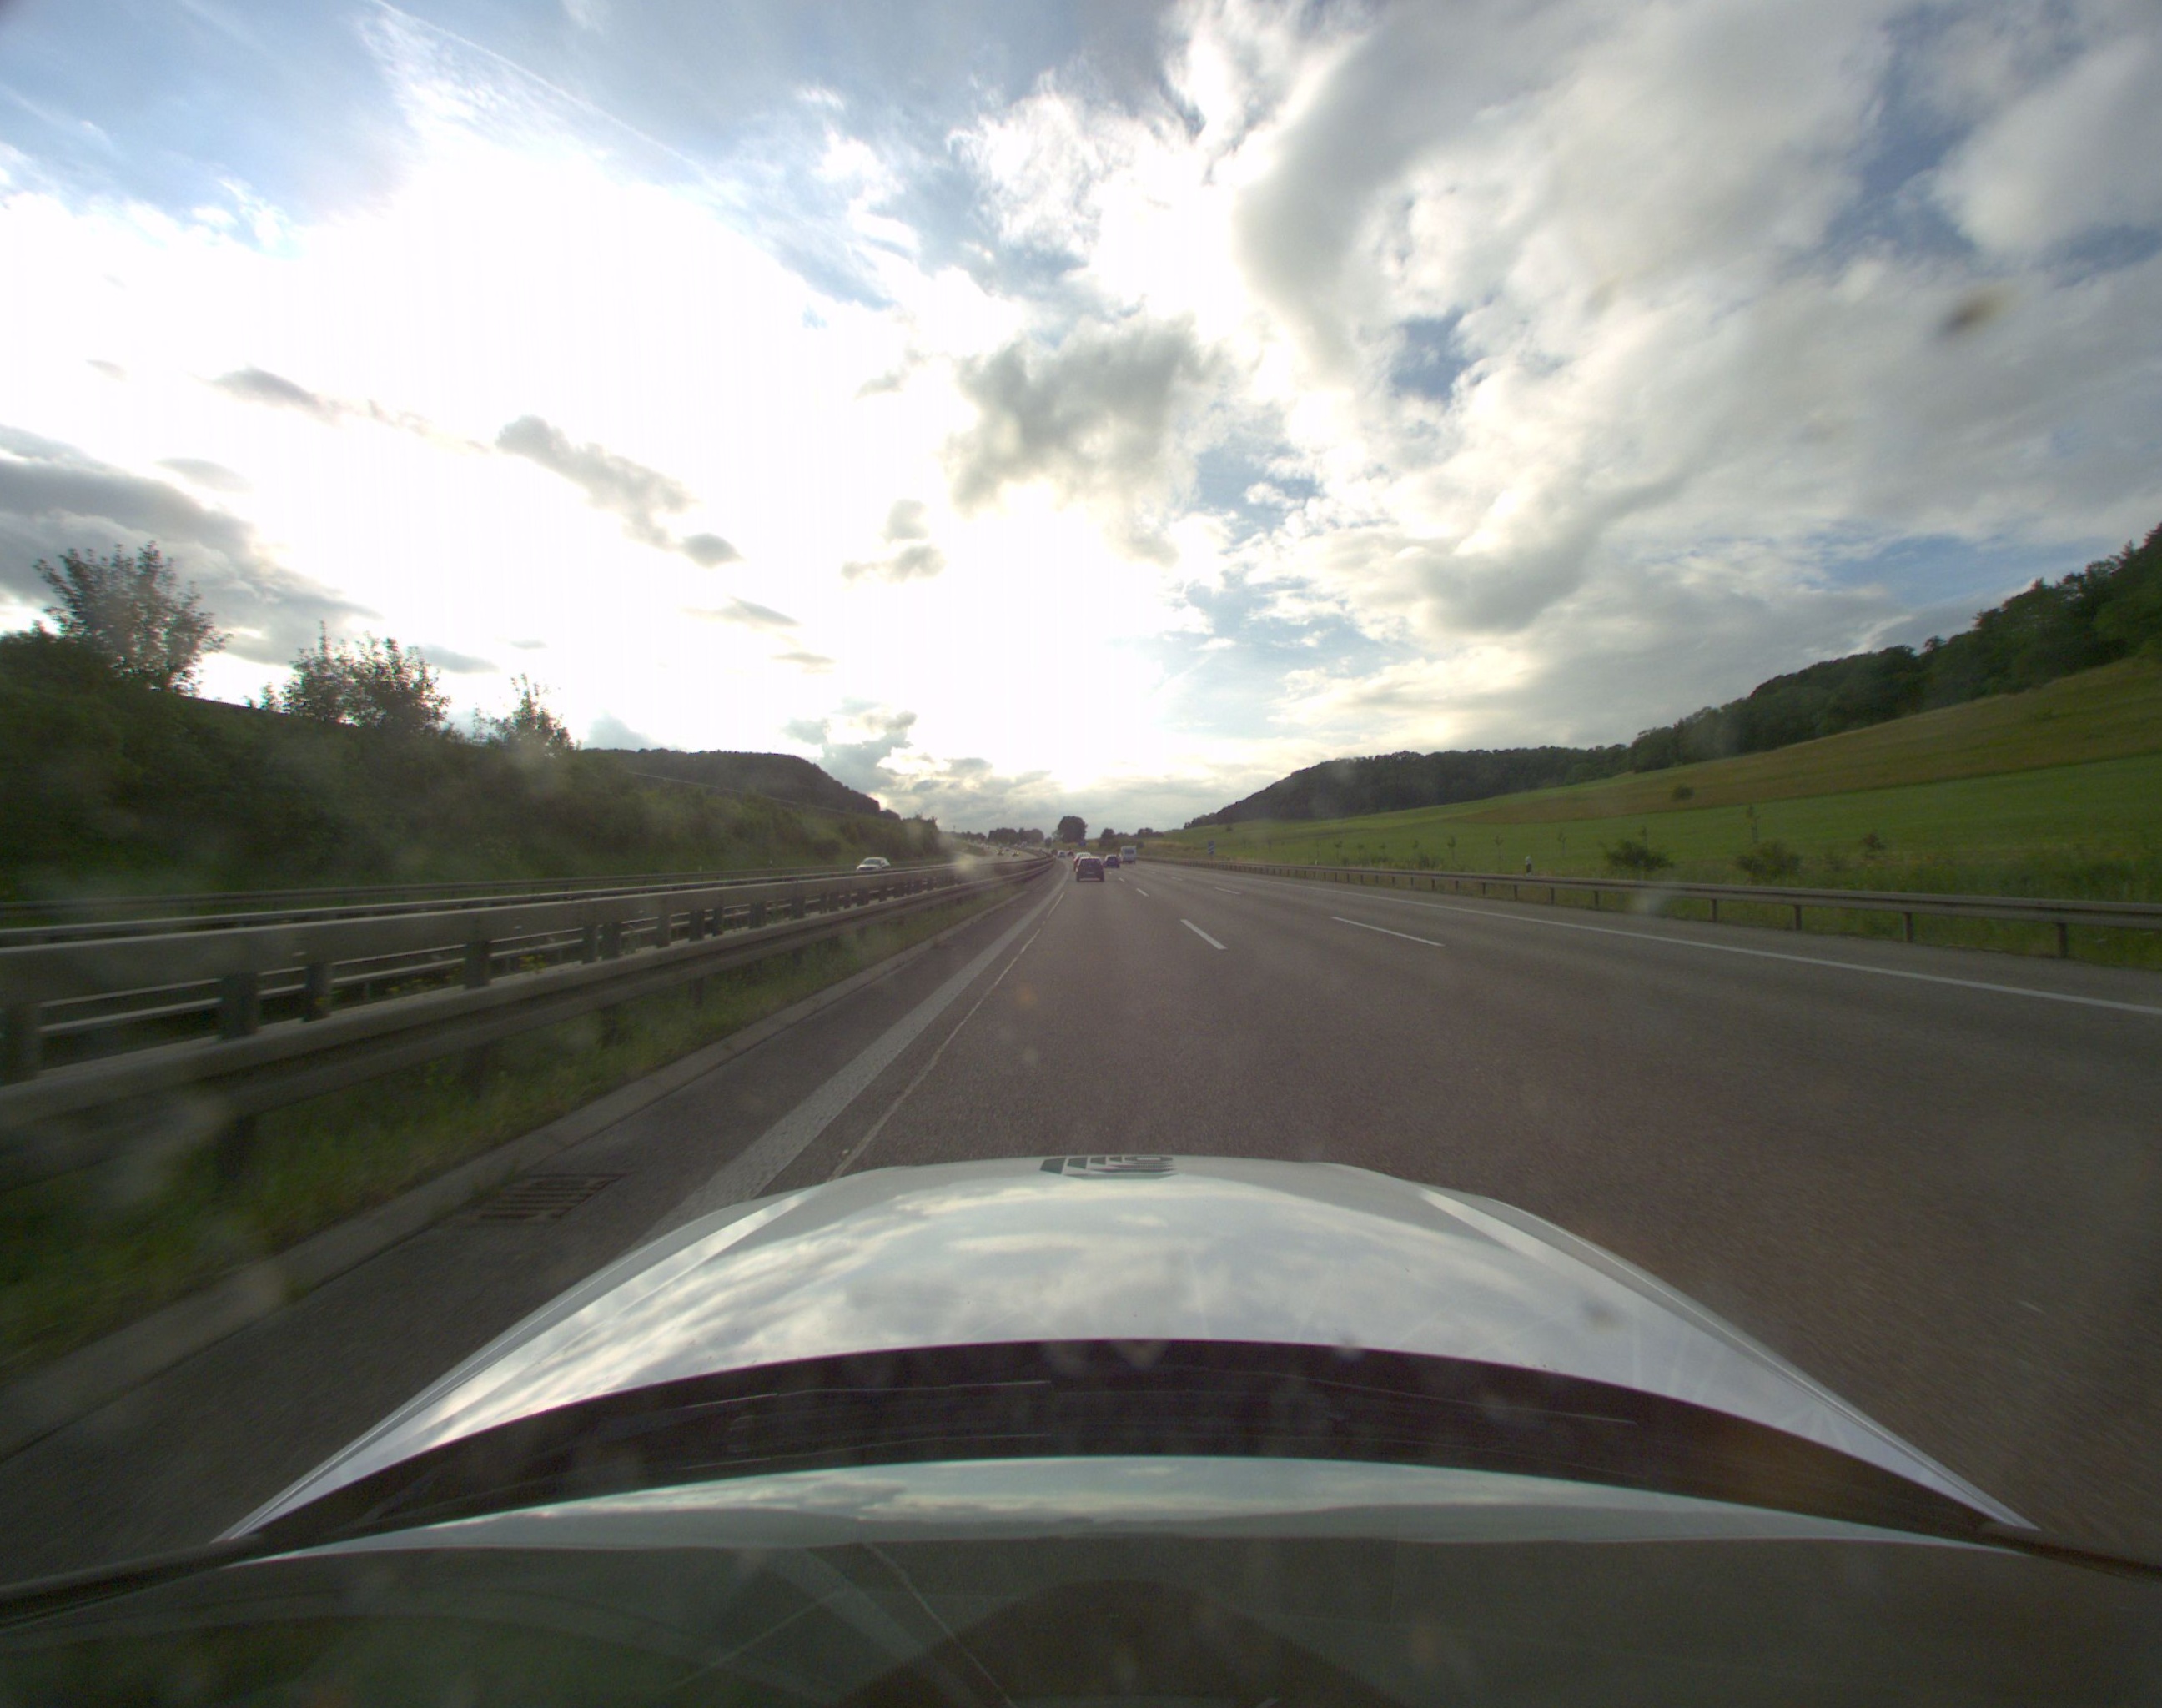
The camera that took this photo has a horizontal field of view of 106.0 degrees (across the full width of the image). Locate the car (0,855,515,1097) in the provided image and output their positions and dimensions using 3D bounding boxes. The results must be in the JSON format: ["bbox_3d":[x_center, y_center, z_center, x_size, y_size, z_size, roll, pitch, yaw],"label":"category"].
[{"bbox_3d":[-7.875,0.853,7.809,1.636,1.656,4.349,-1,0,3],"label":"car"}]

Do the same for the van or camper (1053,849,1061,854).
[{"bbox_3d":[-7.027,-0.683,240.628,1.959,1.433,4.002,0,0,2],"label":"van or camper"}]

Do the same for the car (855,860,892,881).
[{"bbox_3d":[-15.106,1.182,59.529,1.701,1.415,3.999,-1,0,-1],"label":"car"}]

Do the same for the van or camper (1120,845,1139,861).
[{"bbox_3d":[7.154,-0.097,120.707,2.539,2.239,5.329,-1,0,1],"label":"van or camper"}]

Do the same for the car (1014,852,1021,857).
[{"bbox_3d":[-17.718,0.101,227.819,1.990,1.430,4.580,0,0,-4],"label":"car"}]

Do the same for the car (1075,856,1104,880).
[{"bbox_3d":[0.480,0.816,49.158,1.534,1.348,3.674,-1,0,-2],"label":"car"}]

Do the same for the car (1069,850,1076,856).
[{"bbox_3d":[-2.284,-0.249,223.152,1.951,1.574,3.999,-1,0,-1],"label":"car"}]

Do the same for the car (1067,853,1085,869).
[{"bbox_3d":[-0.464,0.643,76.437,1.560,1.380,3.999,-2,0,0],"label":"car"}]

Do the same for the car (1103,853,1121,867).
[{"bbox_3d":[3.522,0.719,92.600,1.761,1.433,3.998,4,-1,0],"label":"car"}]
